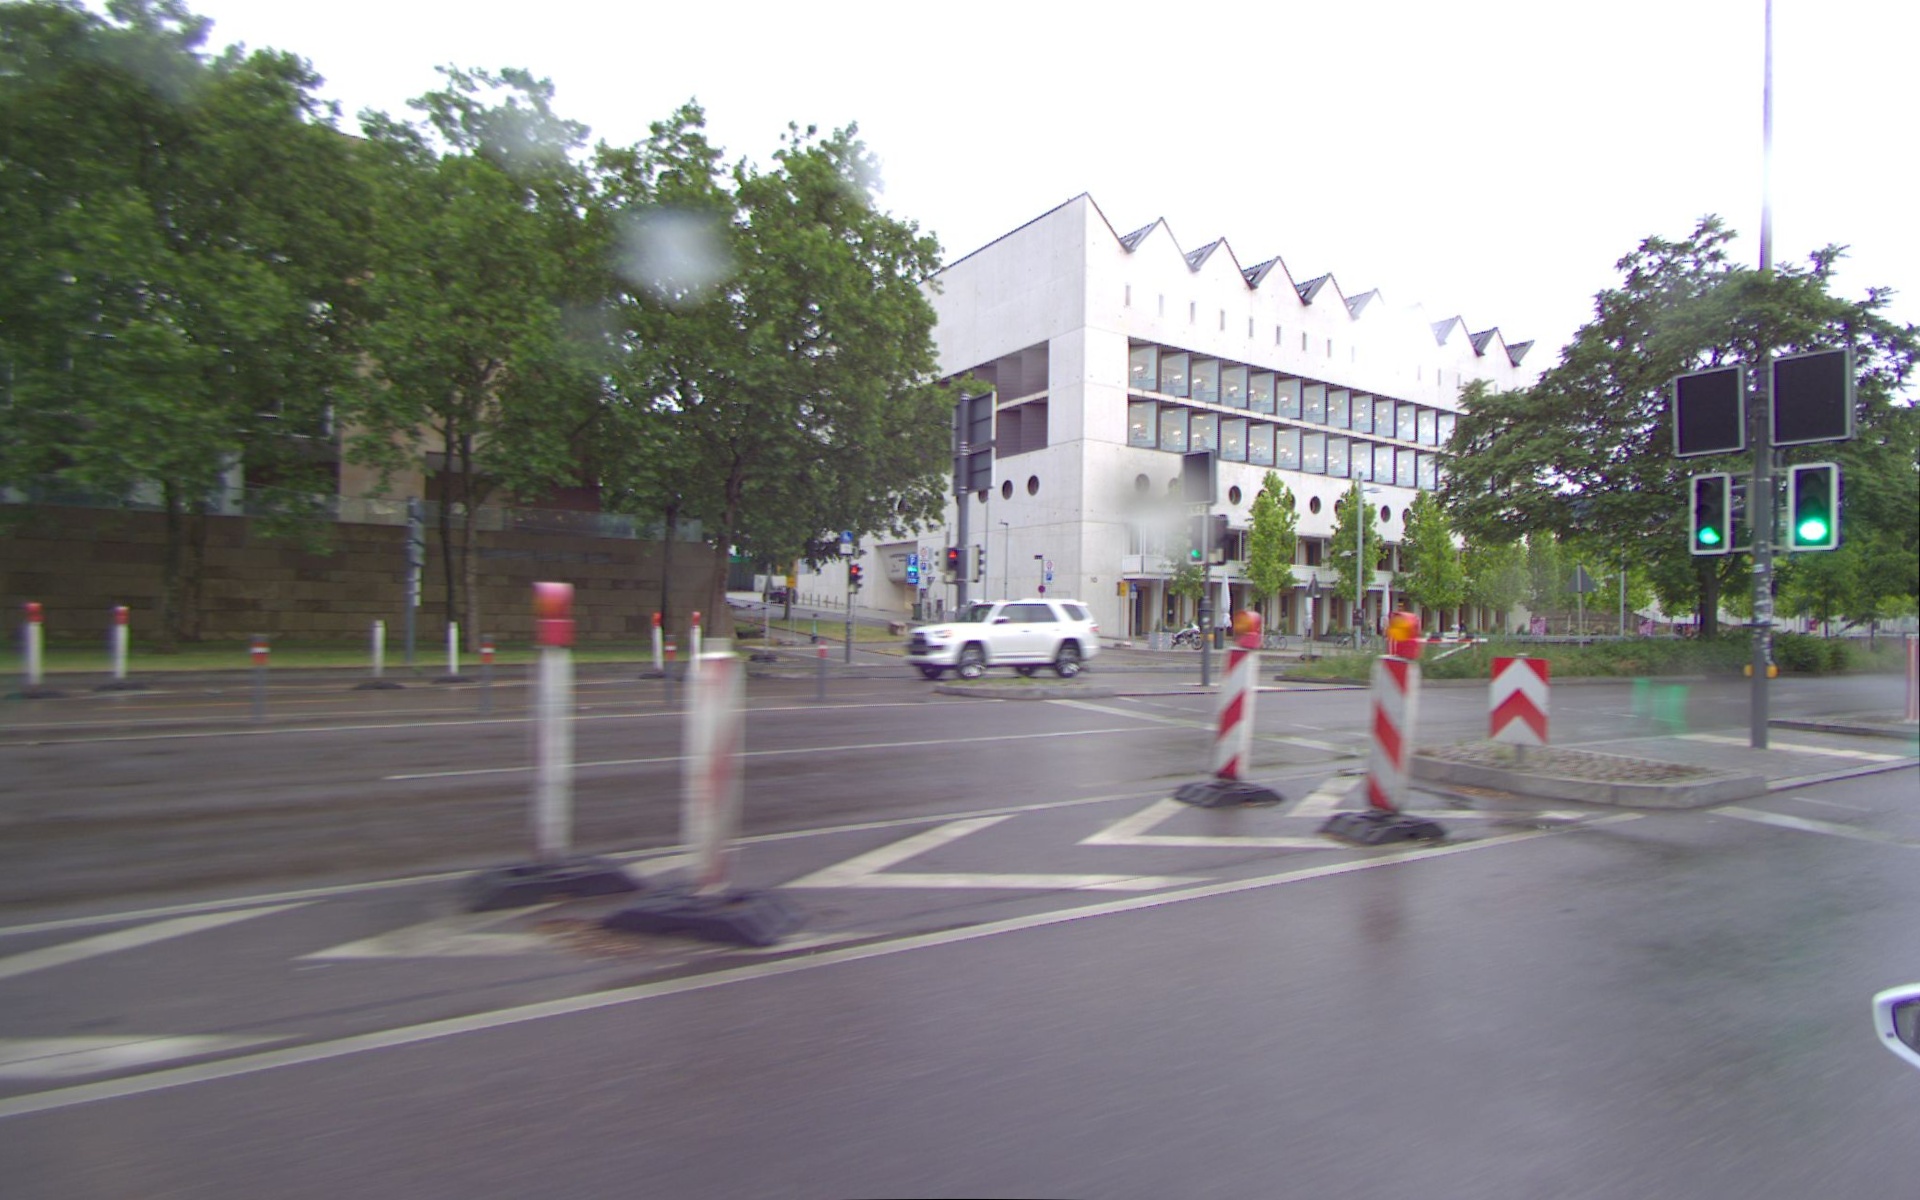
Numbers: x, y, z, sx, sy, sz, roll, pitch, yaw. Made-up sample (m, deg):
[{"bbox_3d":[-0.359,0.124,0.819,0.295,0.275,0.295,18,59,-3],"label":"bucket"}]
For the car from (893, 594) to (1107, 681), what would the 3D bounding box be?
[{"bbox_3d":[1.009,0.924,23.609,4.843,1.864,1.981,3,-3,-35],"label":"car"}]

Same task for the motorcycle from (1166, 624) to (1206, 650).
[{"bbox_3d":[10.580,1.723,47.087,1.807,1.169,0.426,0,-2,31],"label":"motorcycle"}]

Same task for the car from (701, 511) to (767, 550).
[{"bbox_3d":[-15.240,-4.652,67.729,3.953,2.142,1.985,2,-3,-30],"label":"car"}]

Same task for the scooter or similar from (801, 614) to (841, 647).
[{"bbox_3d":[-5.899,1.295,42.621,1.646,1.369,0.713,1,-2,-12],"label":"scooter or similar"}]

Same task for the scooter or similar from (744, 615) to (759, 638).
[{"bbox_3d":[-9.619,1.221,46.395,0.430,1.031,1.667,2,-3,-20],"label":"scooter or similar"}]

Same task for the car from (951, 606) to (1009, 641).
[{"bbox_3d":[1.221,1.516,62.801,1.974,2.040,3.973,2,-3,-27],"label":"car"}]

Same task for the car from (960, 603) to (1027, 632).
[{"bbox_3d":[1.923,1.004,58.466,1.980,1.617,3.962,1,-1,-34],"label":"car"}]

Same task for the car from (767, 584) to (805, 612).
[{"bbox_3d":[-14.225,-0.125,81.931,1.974,2.040,3.973,2,-3,-27],"label":"car"}]

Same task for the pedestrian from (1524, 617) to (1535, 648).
[{"bbox_3d":[37.606,2.136,66.304,0.531,2.040,0.531,0,-3,23],"label":"pedestrian"}]

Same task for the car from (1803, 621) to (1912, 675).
[{"bbox_3d":[29.568,1.547,33.057,3.964,1.654,1.979,2,-1,-37],"label":"car"}]
